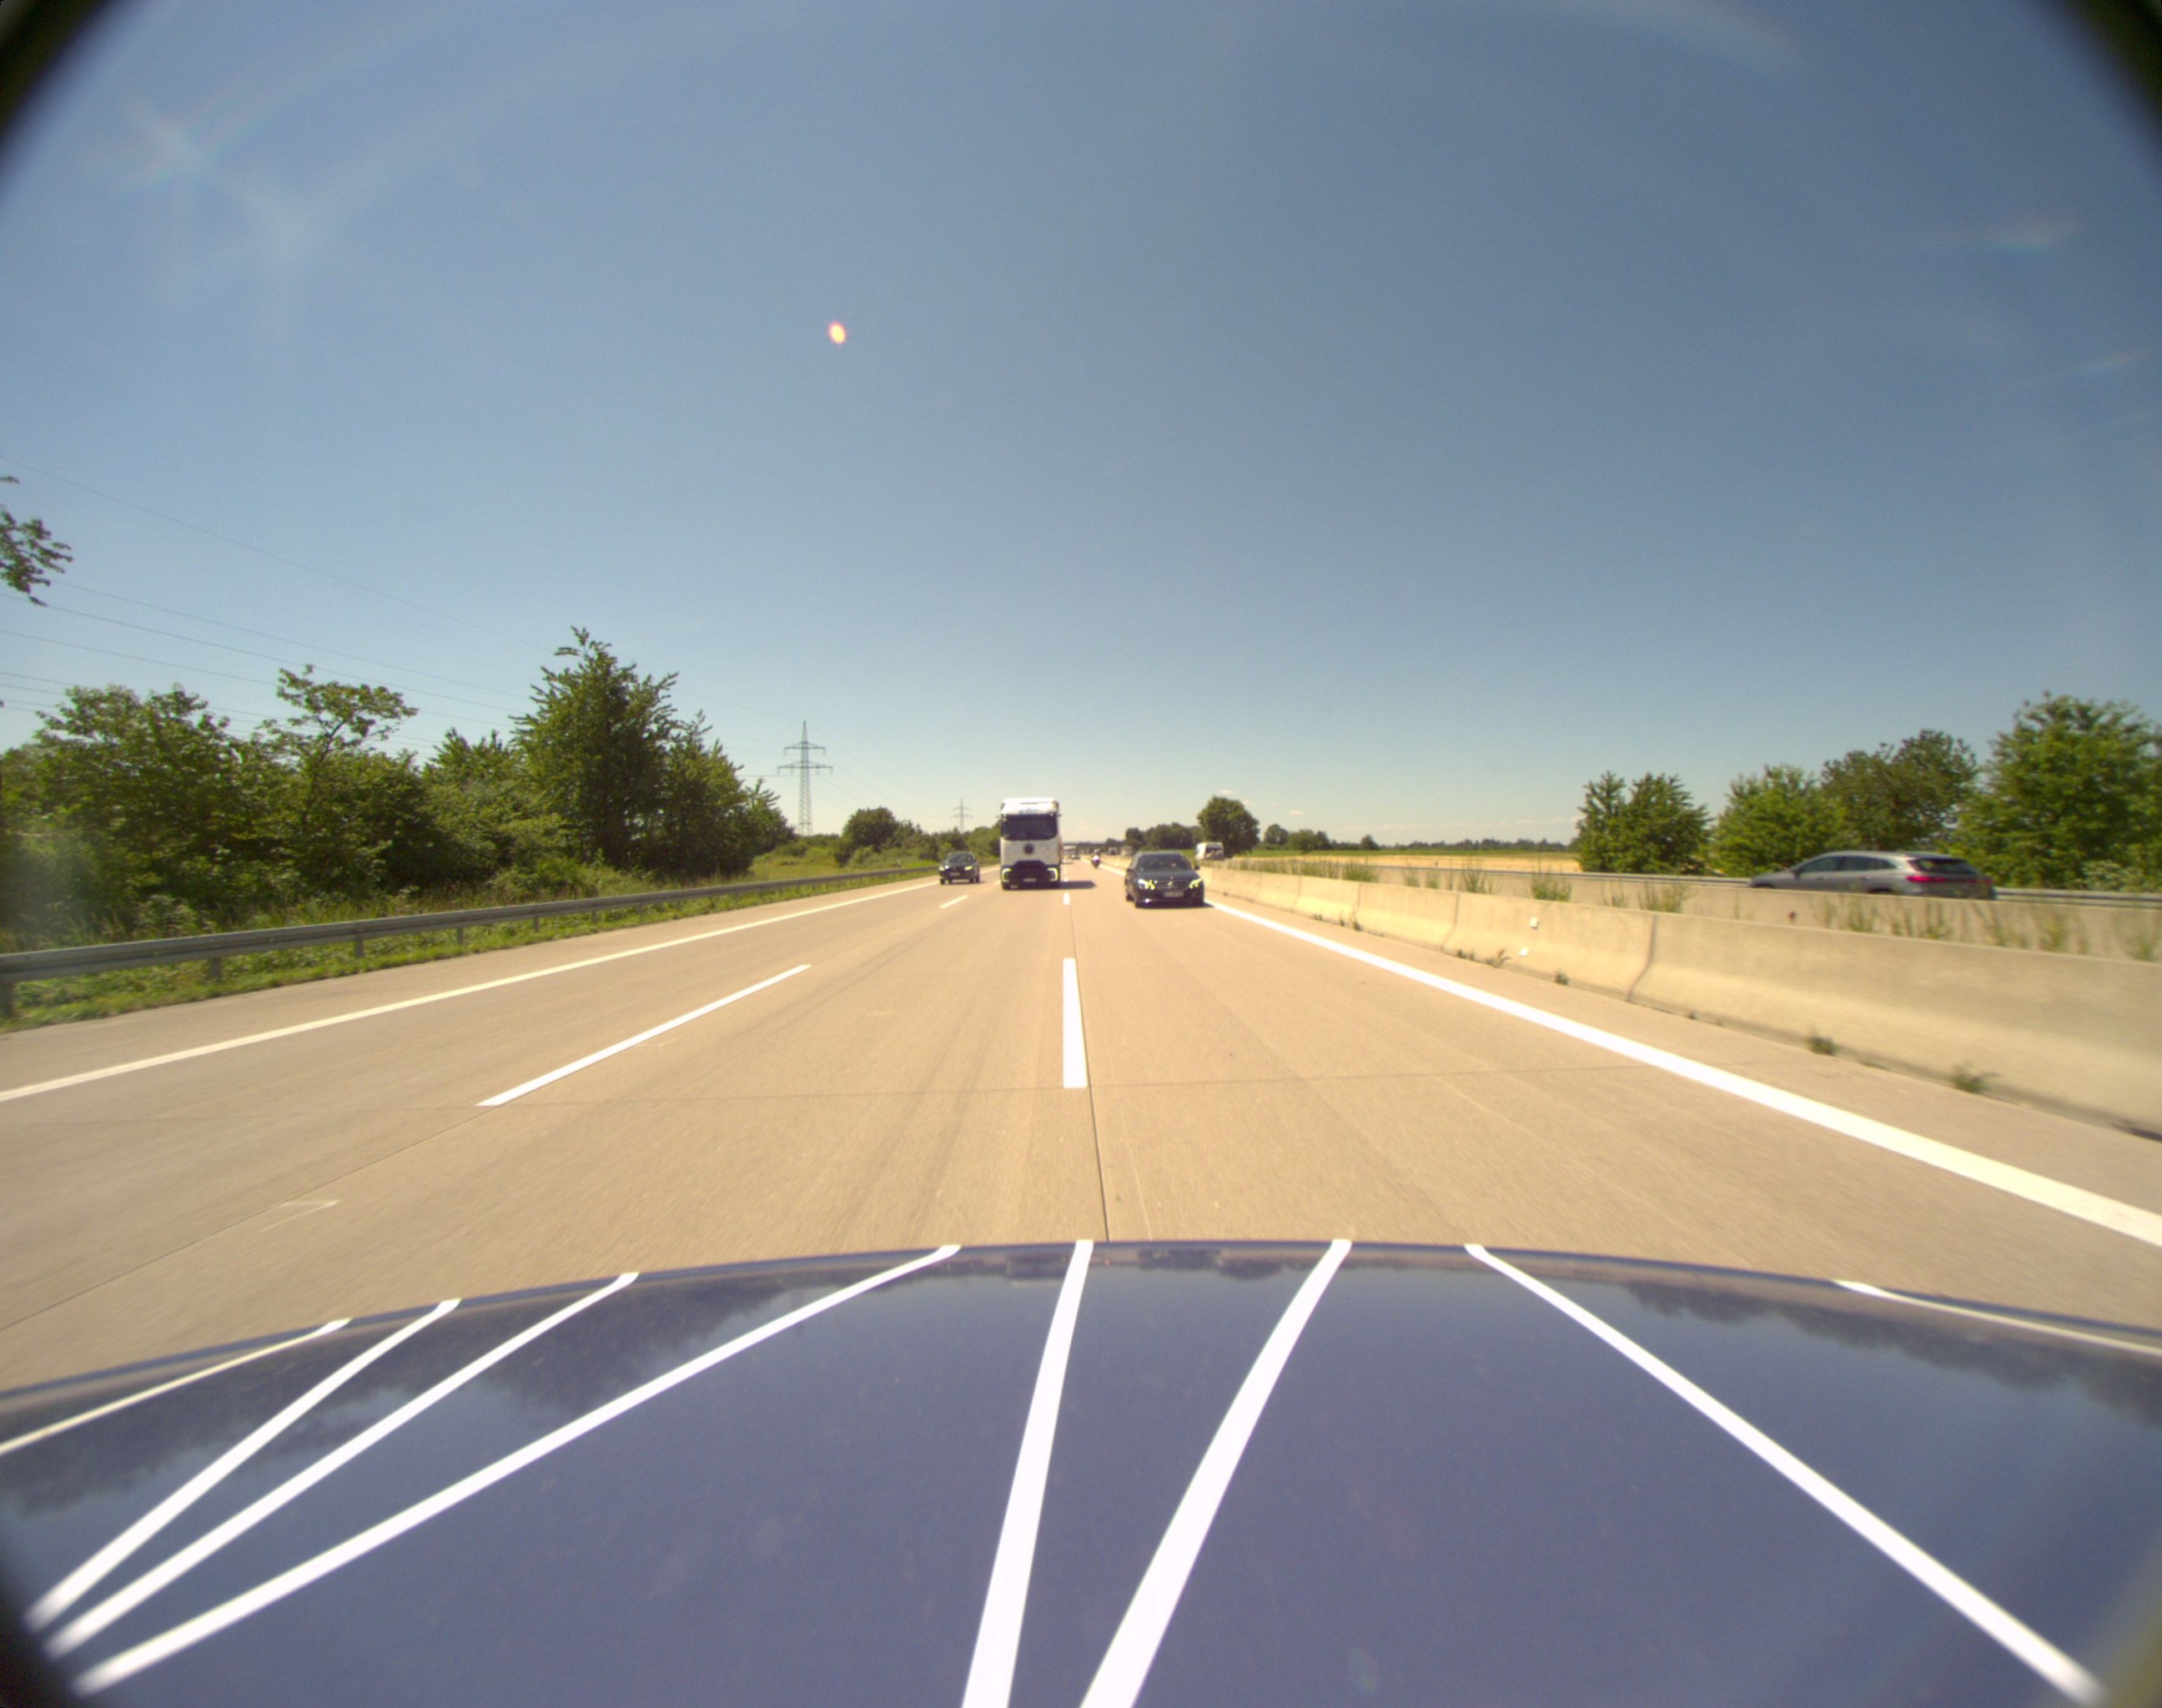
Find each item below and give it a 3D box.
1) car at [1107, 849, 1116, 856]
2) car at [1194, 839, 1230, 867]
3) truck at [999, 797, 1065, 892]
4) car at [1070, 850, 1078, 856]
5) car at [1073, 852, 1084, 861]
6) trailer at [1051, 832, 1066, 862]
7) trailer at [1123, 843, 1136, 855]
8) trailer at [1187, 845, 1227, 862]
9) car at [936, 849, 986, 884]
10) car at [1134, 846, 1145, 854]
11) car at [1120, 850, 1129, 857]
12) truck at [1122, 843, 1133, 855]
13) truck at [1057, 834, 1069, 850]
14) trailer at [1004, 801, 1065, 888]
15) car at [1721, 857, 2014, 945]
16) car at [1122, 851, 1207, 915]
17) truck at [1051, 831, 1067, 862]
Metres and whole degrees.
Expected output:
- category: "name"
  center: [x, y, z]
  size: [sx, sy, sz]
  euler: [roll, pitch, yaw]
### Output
- category: "car"
  center: [7.570, -0.421, 188.413]
  size: [1.999, 1.707, 5.029]
  euler: [-2, 0, 0]
- category: "car"
  center: [13.615, -0.093, 79.703]
  size: [2.269, 2.772, 7.069]
  euler: [-2, 0, -2]
- category: "truck"
  center: [-2.119, -0.426, 34.049]
  size: [2.588, 3.855, 4.983]
  euler: [-2, 1, -2]
- category: "car"
  center: [-2.086, -0.265, 215.316]
  size: [1.999, 1.827, 4.814]
  euler: [-2, 0, -3]
- category: "car"
  center: [-0.539, 0.548, 157.683]
  size: [1.999, 1.781, 4.300]
  euler: [-2, 0, -1]
- category: "trailer"
  center: [-3.351, -1.037, 115.664]
  size: [1.999, 4.230, 15.196]
  euler: [-2, 0, -2]
- category: "trailer"
  center: [15.114, -1.577, 237.966]
  size: [2.810, 3.662, 13.746]
  euler: [-2, 0, -1]
- category: "trailer"
  center: [13.433, -0.068, 81.958]
  size: [2.243, 1.735, 10.542]
  euler: [0, 0, -2]
- category: "car"
  center: [-6.554, 0.651, 41.820]
  size: [1.998, 1.772, 4.000]
  euler: [-2, 0, 1]
- category: "car"
  center: [13.064, -0.897, 169.717]
  size: [1.998, 1.867, 5.183]
  euler: [-2, 0, 0]
- category: "car"
  center: [11.075, -0.115, 194.315]
  size: [1.998, 1.707, 4.612]
  euler: [-2, 0, 0]
- category: "truck"
  center: [15.041, -1.685, 246.141]
  size: [2.810, 3.666, 7.234]
  euler: [-2, 0, -1]
- category: "truck"
  center: [-4.834, -3.144, 204.159]
  size: [2.960, 4.122, 6.151]
  euler: [-2, 1, -1]
- category: "trailer"
  center: [-2.265, -0.455, 39.534]
  size: [2.588, 3.855, 10.370]
  euler: [-2, 0, -2]
- category: "car"
  center: [17.906, 0.947, 17.734]
  size: [1.758, 1.674, 4.841]
  euler: [-2, 0, -1]
- category: "car"
  center: [2.237, 0.726, 21.280]
  size: [1.848, 1.576, 3.939]
  euler: [-2, 0, -1]
- category: "truck"
  center: [-3.150, -1.070, 108.632]
  size: [1.999, 4.230, 5.193]
  euler: [-2, 1, -2]
